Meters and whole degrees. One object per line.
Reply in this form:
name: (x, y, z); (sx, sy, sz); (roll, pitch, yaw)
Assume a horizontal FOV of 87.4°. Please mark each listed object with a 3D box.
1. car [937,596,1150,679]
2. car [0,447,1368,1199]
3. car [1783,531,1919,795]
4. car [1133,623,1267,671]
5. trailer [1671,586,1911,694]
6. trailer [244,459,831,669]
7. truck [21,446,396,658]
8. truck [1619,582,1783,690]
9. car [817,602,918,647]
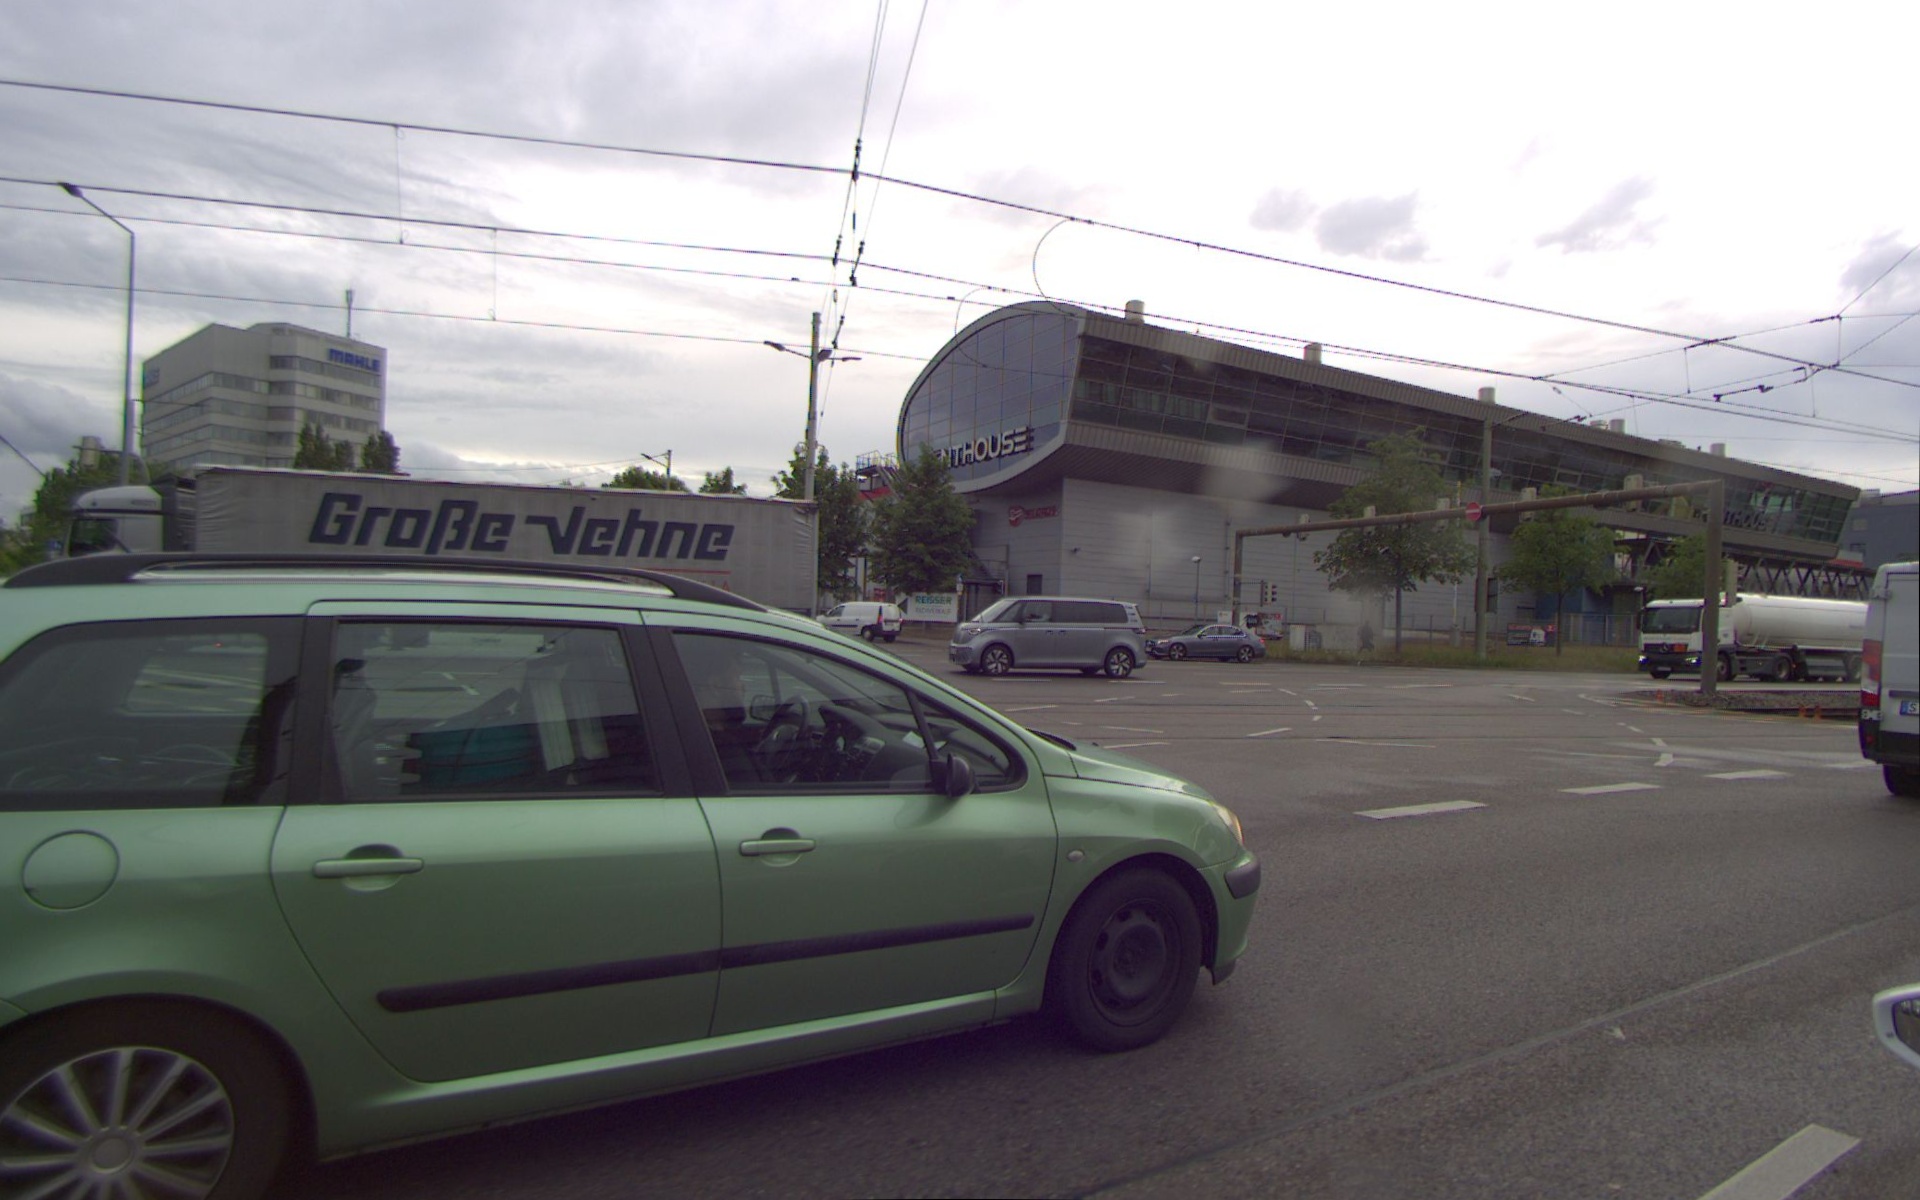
car: (2.041, 0.900, 24.722); (4.831, 1.862, 1.992); (1, 1, -18)
car: (-0.841, 0.477, 3.377); (4.350, 1.488, 1.687); (2, 2, -29)
car: (10.703, 0.676, 9.822); (4.845, 2.324, 2.435); (3, 0, -29)
car: (9.129, 1.797, 38.281); (4.567, 1.630, 1.995); (2, -3, -15)
trailer: (34.114, 1.725, 41.108); (11.068, 3.905, 2.719); (3, -2, -23)
trailer: (-9.665, -0.663, 24.600); (12.530, 4.179, 2.651); (3, -1, -14)
truck: (-16.712, -0.944, 22.847); (6.081, 4.184, 2.668); (3, -1, -14)
truck: (28.651, 1.430, 38.846); (5.334, 3.855, 2.740); (3, -2, -22)
car: (-3.928, 1.029, 42.571); (3.931, 1.707, 1.852); (1, -1, 32)
